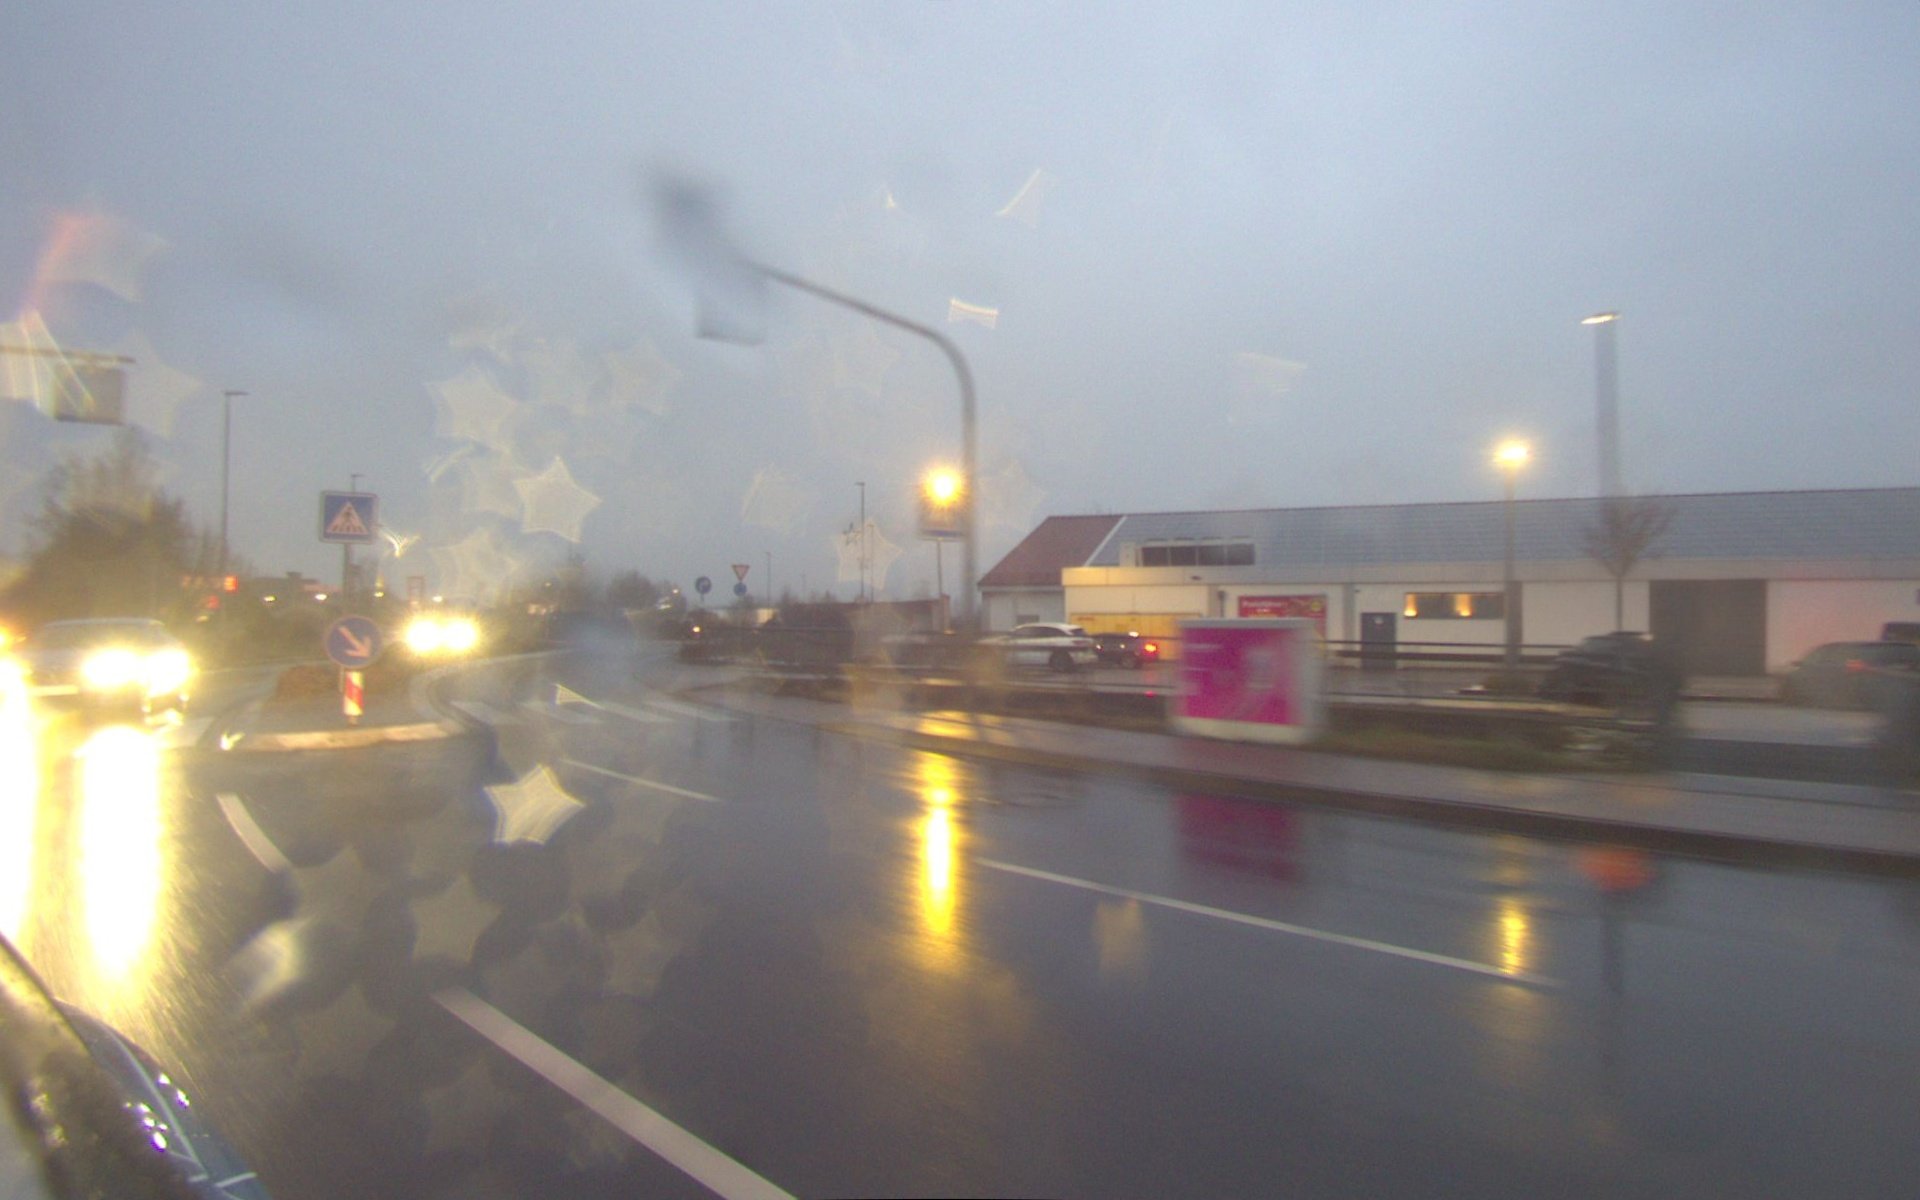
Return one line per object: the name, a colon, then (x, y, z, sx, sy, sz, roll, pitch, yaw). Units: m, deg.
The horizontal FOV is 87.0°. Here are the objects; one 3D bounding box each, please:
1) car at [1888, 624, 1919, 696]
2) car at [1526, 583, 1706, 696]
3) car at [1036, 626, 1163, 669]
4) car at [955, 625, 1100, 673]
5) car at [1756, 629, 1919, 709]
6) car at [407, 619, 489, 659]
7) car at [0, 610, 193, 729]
car: (21.511, 1.219, 20.712, 2.039, 1.575, 4.416, -2, -4, 19)
car: (14.878, 0.973, 23.350, 2.201, 2.300, 5.168, -2, -4, 19)
car: (5.445, 1.835, 39.587, 4.624, 1.548, 1.876, 0, -2, 23)
car: (2.341, 1.681, 35.307, 4.755, 1.548, 1.675, 0, -2, 23)
car: (19.444, 1.477, 21.932, 2.039, 1.575, 4.416, -2, -4, 19)
car: (-20.025, 1.500, 39.751, 1.967, 1.484, 4.010, 0, -1, -13)
car: (-13.994, 1.038, 16.374, 1.746, 1.654, 4.435, 1, -2, -27)
